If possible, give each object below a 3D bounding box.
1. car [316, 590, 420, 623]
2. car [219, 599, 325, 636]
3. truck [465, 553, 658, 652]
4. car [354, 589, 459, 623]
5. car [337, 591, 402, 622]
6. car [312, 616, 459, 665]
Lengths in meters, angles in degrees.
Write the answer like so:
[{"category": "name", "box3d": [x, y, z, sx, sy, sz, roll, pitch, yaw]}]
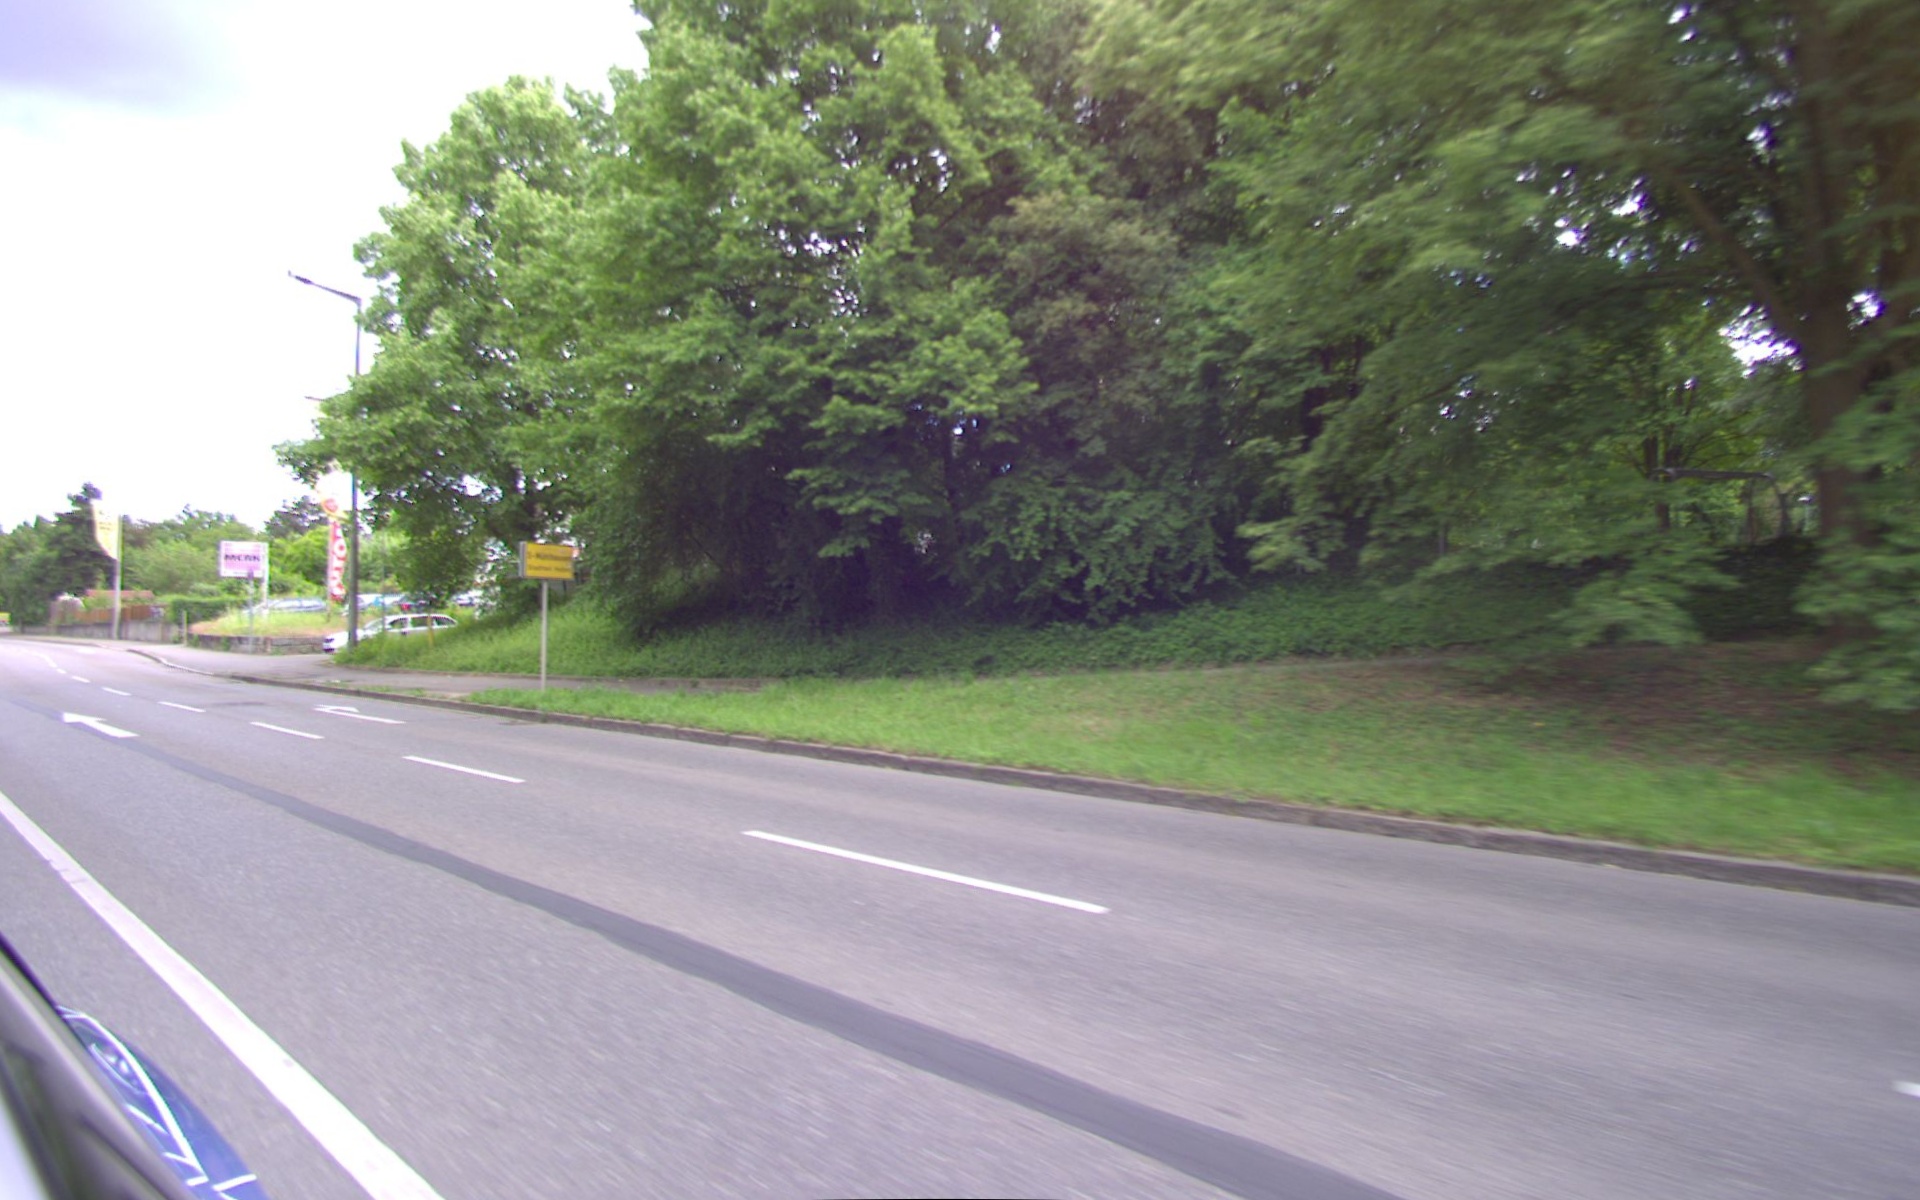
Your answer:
[{"category": "car", "box3d": [-28.198, 0.296, 48.286, 1.734, 1.519, 3.946, -1, 0, 40]}, {"category": "car", "box3d": [-32.835, 0.799, 48.359, 1.878, 1.630, 3.855, -1, 0, 40]}, {"category": "truck", "box3d": [-16.032, 0.069, 41.106, 2.656, 3.657, 6.835, -1, 0, 40]}, {"category": "car", "box3d": [-25.916, 0.261, 47.463, 1.734, 1.519, 3.946, -1, 0, 40]}, {"category": "car", "box3d": [-30.465, 0.330, 52.165, 3.998, 1.519, 1.711, -1, 0, 41]}, {"category": "car", "box3d": [-20.234, 1.407, 35.802, 1.746, 1.503, 4.169, -3, -2, 37]}]
